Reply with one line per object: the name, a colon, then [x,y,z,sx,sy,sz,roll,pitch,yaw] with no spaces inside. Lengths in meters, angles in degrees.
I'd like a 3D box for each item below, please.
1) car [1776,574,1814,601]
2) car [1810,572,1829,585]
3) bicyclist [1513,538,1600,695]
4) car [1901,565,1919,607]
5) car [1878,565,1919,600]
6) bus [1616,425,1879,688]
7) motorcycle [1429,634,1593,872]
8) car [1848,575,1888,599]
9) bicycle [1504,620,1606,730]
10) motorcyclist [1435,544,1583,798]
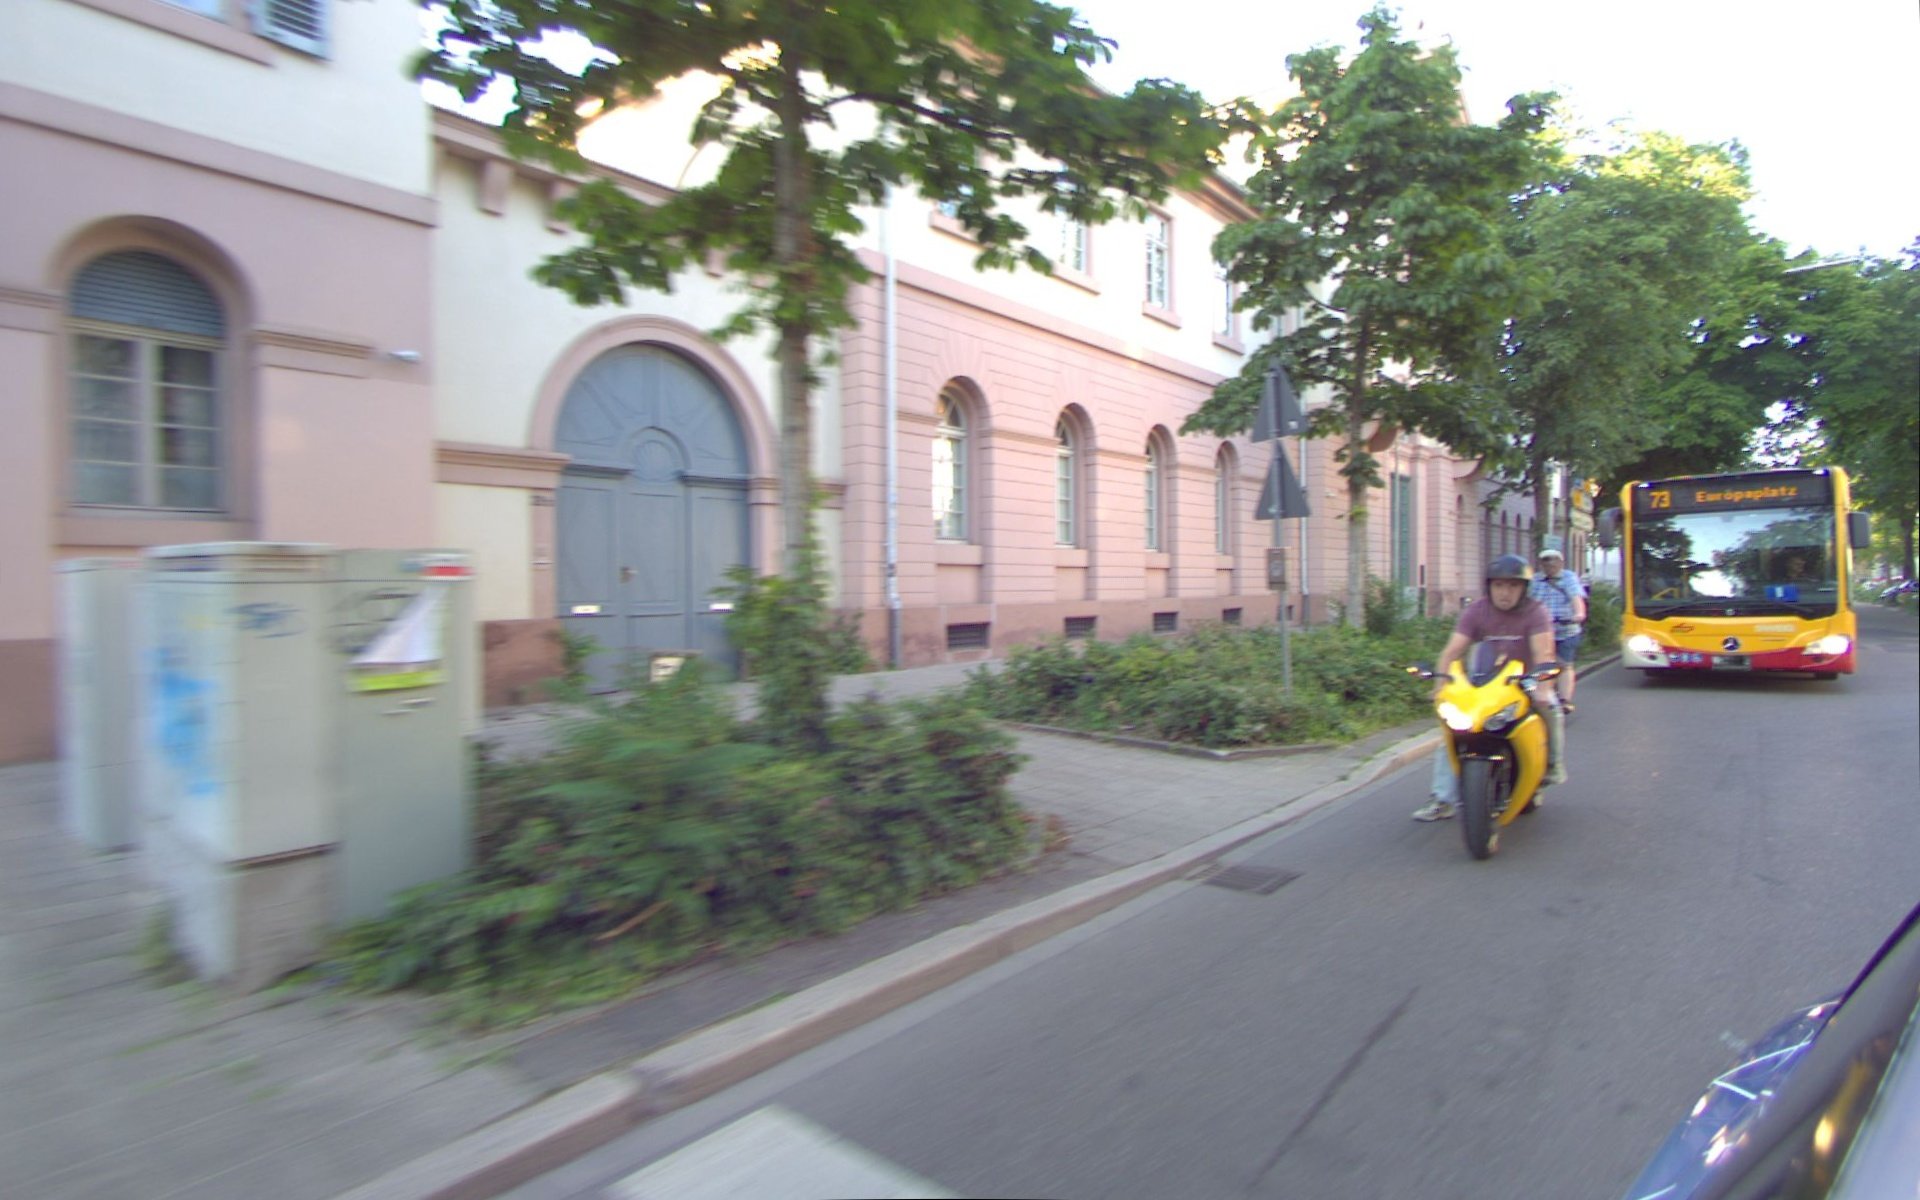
car: [53.919,-0.838,65.400,1.836,1.730,3.944,0,1,39]
car: [115.566,-2.885,136.129,1.836,1.730,4.099,0,1,39]
bicyclist: [6.326,0.174,10.722,0.634,1.581,0.807,-3,-1,39]
car: [41.031,-0.584,40.968,3.970,1.730,1.977,0,1,33]
car: [47.832,-0.864,49.557,3.970,1.730,1.824,0,1,33]
bus: [13.963,-0.647,17.847,2.657,3.235,11.730,-2,0,39]
motorcycle: [3.305,0.805,6.122,0.731,1.073,1.945,-1,1,28]
car: [60.056,-0.867,66.991,1.791,1.529,3.944,0,1,39]
bicycle: [6.303,0.742,10.668,0.634,0.996,1.954,-3,-1,38]
motorcyclist: [3.340,0.391,6.189,0.731,1.429,0.719,-1,1,28]
